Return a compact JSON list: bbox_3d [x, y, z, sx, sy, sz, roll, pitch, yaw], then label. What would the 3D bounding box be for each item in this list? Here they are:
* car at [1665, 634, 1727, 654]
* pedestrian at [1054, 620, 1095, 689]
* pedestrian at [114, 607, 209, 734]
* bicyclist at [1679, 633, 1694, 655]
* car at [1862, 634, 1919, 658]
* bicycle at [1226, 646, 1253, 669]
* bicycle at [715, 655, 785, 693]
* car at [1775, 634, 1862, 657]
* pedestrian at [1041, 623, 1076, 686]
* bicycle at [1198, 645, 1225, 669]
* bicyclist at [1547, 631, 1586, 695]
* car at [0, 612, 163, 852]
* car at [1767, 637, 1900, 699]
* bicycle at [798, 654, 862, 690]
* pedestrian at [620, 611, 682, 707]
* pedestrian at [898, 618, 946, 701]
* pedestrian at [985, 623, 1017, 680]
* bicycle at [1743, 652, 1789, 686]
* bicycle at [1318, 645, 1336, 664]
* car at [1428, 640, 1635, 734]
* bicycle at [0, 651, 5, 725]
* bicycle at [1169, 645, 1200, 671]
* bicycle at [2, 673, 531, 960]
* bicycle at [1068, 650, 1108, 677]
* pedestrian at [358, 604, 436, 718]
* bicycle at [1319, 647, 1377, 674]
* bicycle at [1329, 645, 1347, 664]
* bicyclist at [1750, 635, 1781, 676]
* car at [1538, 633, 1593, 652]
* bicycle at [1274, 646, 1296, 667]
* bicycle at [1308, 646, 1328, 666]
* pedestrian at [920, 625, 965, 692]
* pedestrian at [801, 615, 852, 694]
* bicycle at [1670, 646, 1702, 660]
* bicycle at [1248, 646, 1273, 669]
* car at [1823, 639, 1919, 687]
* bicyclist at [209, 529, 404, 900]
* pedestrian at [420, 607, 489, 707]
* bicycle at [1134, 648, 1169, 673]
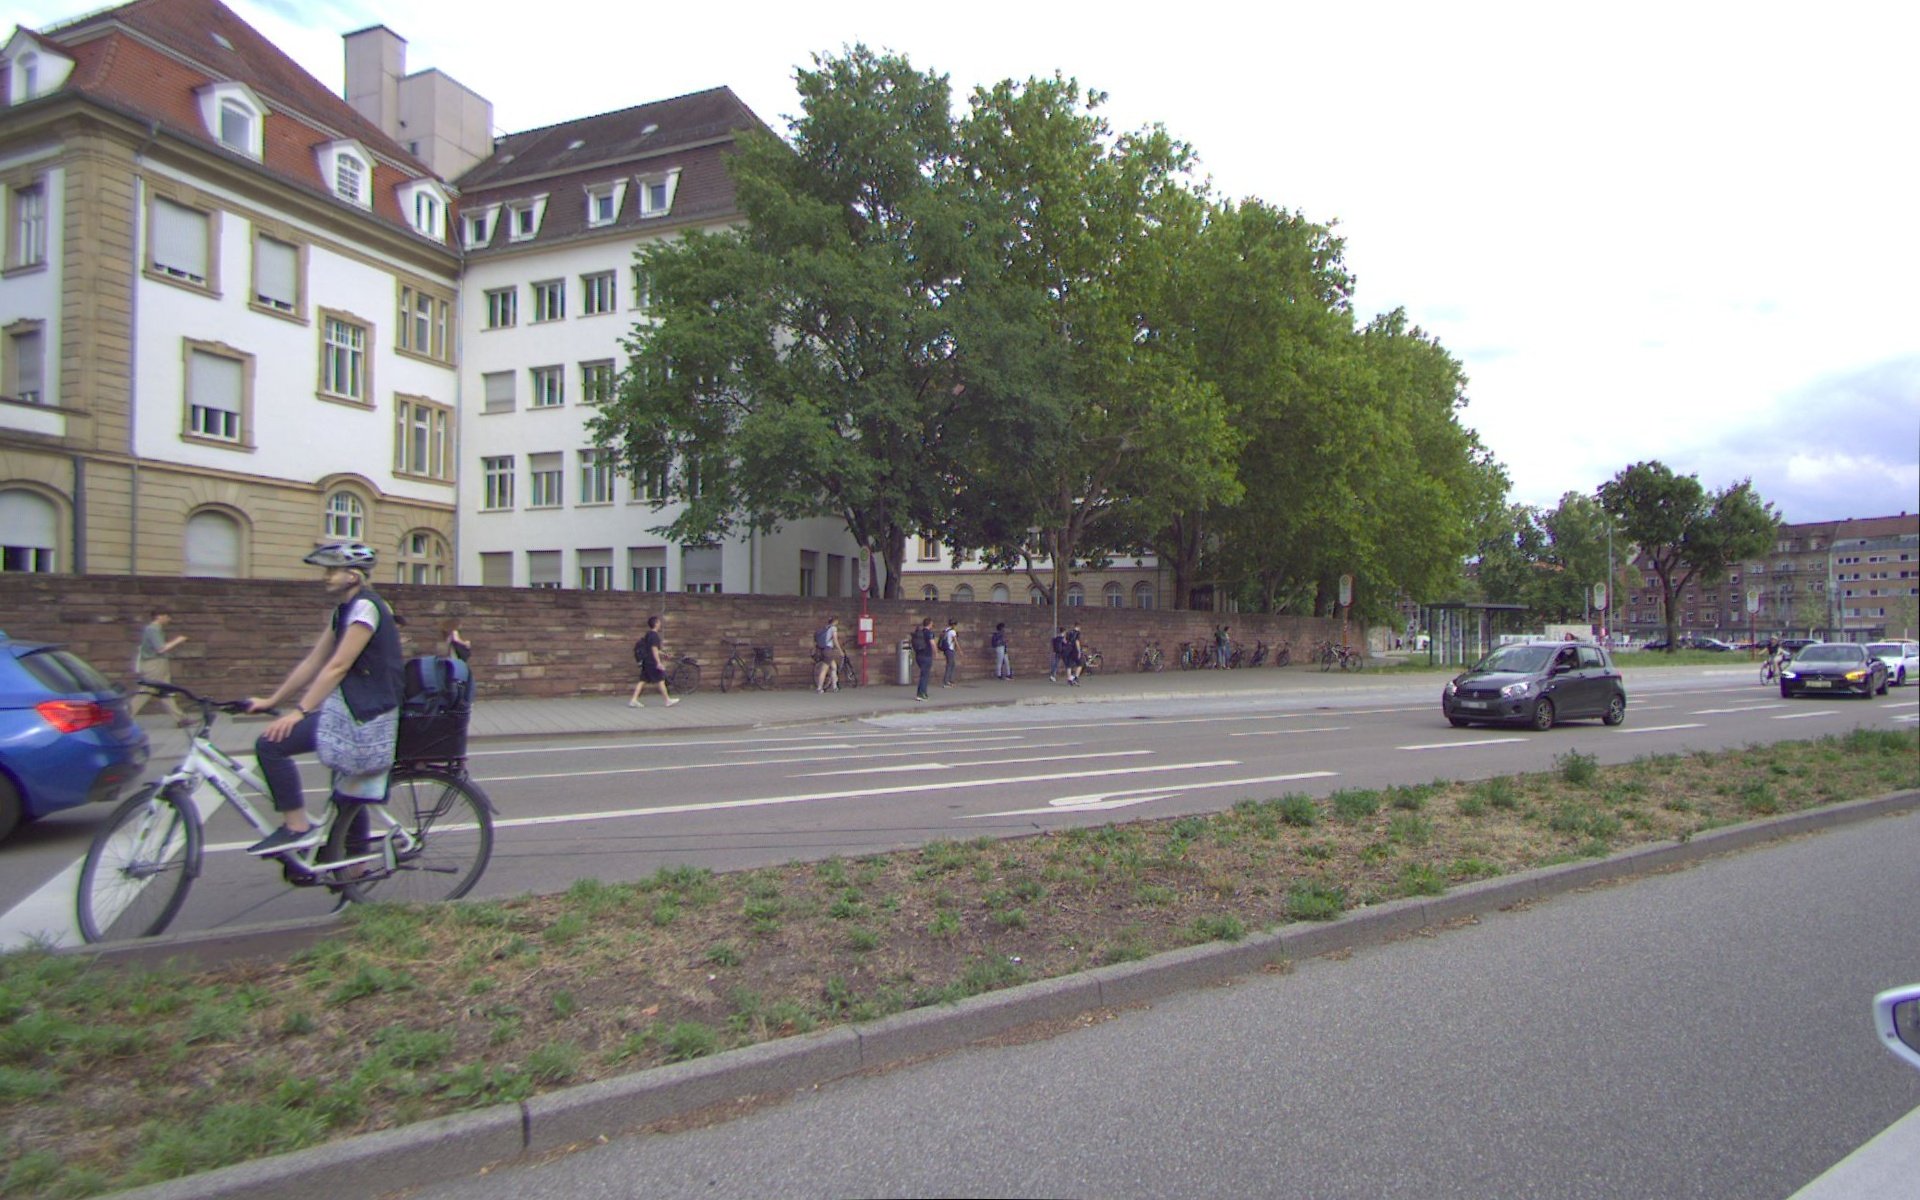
[{"bbox_3d":[58.622,3.477,80.042,1.571,1.413,3.734,1,-1,-38],"label":"car"},{"bbox_3d":[3.084,1.462,27.027,0.748,1.805,0.923,0,-3,30],"label":"pedestrian"},{"bbox_3d":[-11.828,1.024,14.890,0.733,1.805,0.783,1,-2,26],"label":"pedestrian"},{"bbox_3d":[56.822,3.427,78.553,0.567,1.665,0.781,1,-2,-36],"label":"bicyclist"},{"bbox_3d":[65.809,3.193,70.194,1.644,1.537,3.830,1,-1,-36],"label":"car"},{"bbox_3d":[11.269,2.308,40.496,0.435,0.890,1.614,2,0,37],"label":"bicycle"},{"bbox_3d":[-4.921,1.727,23.602,1.608,0.807,0.437,0,1,-41],"label":"bicycle"},{"bbox_3d":[63.098,3.326,73.920,1.644,1.495,4.637,1,-1,-36],"label":"car"},{"bbox_3d":[2.876,1.579,29.274,0.748,1.805,0.782,0,-3,30],"label":"pedestrian"},{"bbox_3d":[9.687,2.178,38.601,0.342,0.890,1.515,2,0,41],"label":"bicycle"},{"bbox_3d":[17.516,1.807,29.008,0.800,1.806,0.616,1,-2,-27],"label":"bicyclist"},{"bbox_3d":[-7.828,0.852,6.411,4.059,1.531,1.792,2,-3,-33],"label":"car"},{"bbox_3d":[23.553,1.772,27.045,4.363,1.509,1.789,2,-2,-36],"label":"car"},{"bbox_3d":[-3.229,1.778,25.082,1.608,0.807,0.437,0,1,-41],"label":"bicycle"},{"bbox_3d":[-5.960,1.131,19.399,0.748,1.805,0.782,0,-3,30],"label":"pedestrian"},{"bbox_3d":[-0.856,1.331,22.478,0.749,1.805,0.720,0,-3,35],"label":"pedestrian"},{"bbox_3d":[1.194,1.495,28.989,0.578,1.613,0.733,0,-3,36],"label":"pedestrian"},{"bbox_3d":[28.827,2.461,35.906,1.940,1.186,0.579,1,-2,-29],"label":"bicycle"},{"bbox_3d":[18.543,2.762,50.715,0.474,0.919,1.616,2,0,34],"label":"bicycle"},{"bbox_3d":[10.100,1.465,17.708,3.593,1.508,1.565,1,-3,-30],"label":"car"},{"bbox_3d":[-15.201,1.308,14.527,1.963,1.072,0.544,1,1,-39],"label":"bicycle"},{"bbox_3d":[8.285,2.130,37.038,0.411,0.890,1.548,2,0,41],"label":"bicycle"},{"bbox_3d":[-3.049,0.903,4.656,1.902,1.069,0.571,1,-1,-28],"label":"bicycle"},{"bbox_3d":[4.142,2.032,32.315,0.435,0.838,1.613,2,0,41],"label":"bicycle"},{"bbox_3d":[-9.235,0.994,16.491,0.747,1.805,0.783,0,-2,29],"label":"pedestrian"},{"bbox_3d":[14.062,2.179,36.370,2.306,0.931,0.469,1,-2,-24],"label":"bicycle"},{"bbox_3d":[19.713,2.817,52.337,0.474,0.919,1.616,2,0,34],"label":"bicycle"},{"bbox_3d":[28.795,1.977,35.904,0.801,1.437,0.578,1,-2,-28],"label":"bicyclist"},{"bbox_3d":[56.131,3.924,93.189,1.632,1.671,4.124,1,-2,-37],"label":"car"},{"bbox_3d":[14.561,2.518,44.970,0.474,0.919,1.615,-1,-2,35],"label":"bicycle"},{"bbox_3d":[17.407,2.704,48.837,0.474,0.919,1.616,2,0,34],"label":"bicycle"},{"bbox_3d":[-0.448,1.511,26.050,0.748,1.693,0.923,0,-3,30],"label":"pedestrian"},{"bbox_3d":[-3.134,1.269,23.678,0.748,1.805,0.913,0,-3,30],"label":"pedestrian"},{"bbox_3d":[56.781,4.139,78.564,0.625,0.995,1.951,1,-2,-36],"label":"bicycle"},{"bbox_3d":[12.635,2.406,42.238,0.435,0.890,1.614,2,0,37],"label":"bicycle"},{"bbox_3d":[31.427,2.098,34.255,4.366,1.509,1.792,1,-2,-31],"label":"car"},{"bbox_3d":[-3.043,0.502,4.744,0.690,1.594,0.570,1,-1,-27],"label":"bicyclist"},{"bbox_3d":[-9.385,1.045,18.672,0.747,1.805,0.783,0,-2,27],"label":"pedestrian"},{"bbox_3d":[6.731,2.104,35.215,0.435,0.838,1.613,2,0,41],"label":"bicycle"}]
